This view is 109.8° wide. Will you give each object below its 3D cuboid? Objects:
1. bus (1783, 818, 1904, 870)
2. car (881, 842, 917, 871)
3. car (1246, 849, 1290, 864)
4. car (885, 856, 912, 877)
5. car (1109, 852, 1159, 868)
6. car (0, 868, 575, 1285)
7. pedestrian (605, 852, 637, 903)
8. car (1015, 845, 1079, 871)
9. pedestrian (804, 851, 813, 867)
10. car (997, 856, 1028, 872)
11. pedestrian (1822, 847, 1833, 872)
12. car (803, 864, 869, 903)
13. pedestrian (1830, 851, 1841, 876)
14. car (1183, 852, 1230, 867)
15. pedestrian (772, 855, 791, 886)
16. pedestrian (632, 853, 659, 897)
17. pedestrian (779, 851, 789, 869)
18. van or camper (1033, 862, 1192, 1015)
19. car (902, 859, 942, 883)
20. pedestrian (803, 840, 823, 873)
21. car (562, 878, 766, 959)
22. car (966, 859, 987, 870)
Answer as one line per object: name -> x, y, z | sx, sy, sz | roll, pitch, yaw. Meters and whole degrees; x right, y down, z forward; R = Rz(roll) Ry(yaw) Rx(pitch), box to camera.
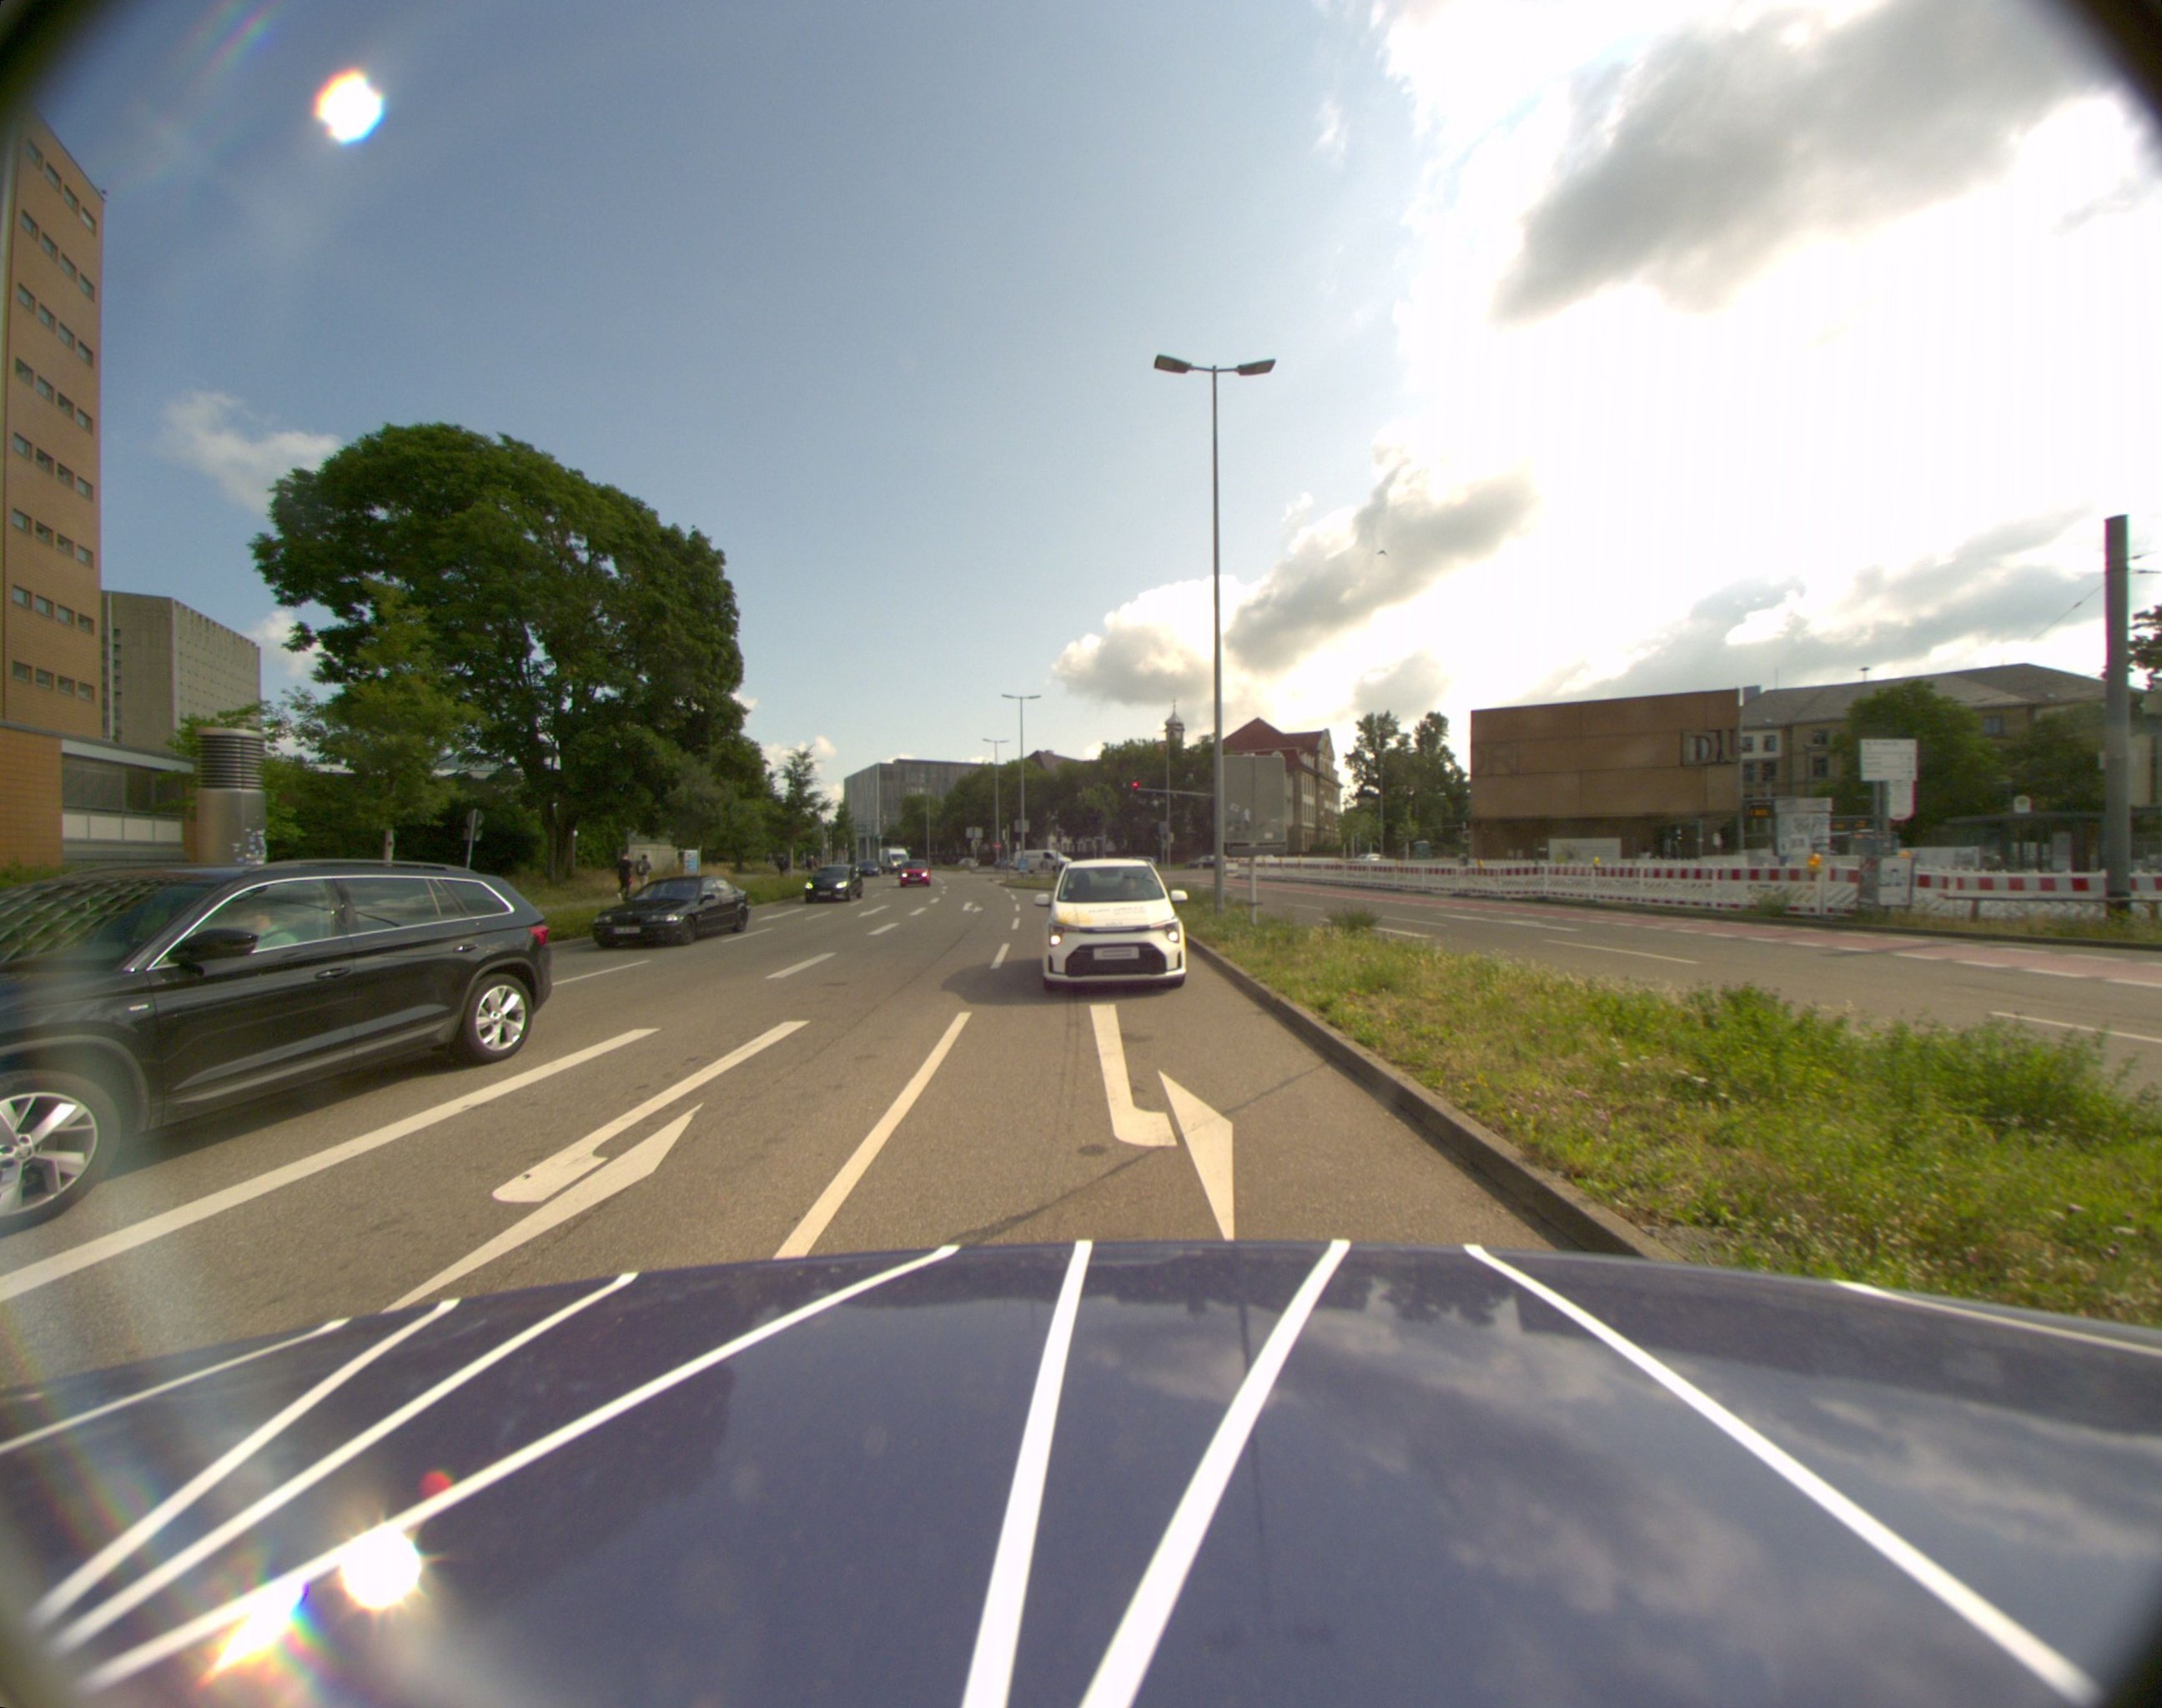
bus -> 57.630, -0.707, 57.894 | 2.957, 3.487, 12.276 | 0, 0, 28
car -> -19.171, 0.246, 79.961 | 2.489, 2.862, 6.136 | -1, 0, -25
car -> 18.461, 0.215, 75.052 | 4.136, 1.382, 1.756 | -1, 0, -29
car -> -15.074, 0.980, 62.520 | 1.892, 1.608, 3.994 | -3, 1, -16
car -> 5.429, 0.634, 77.709 | 4.782, 1.559, 1.998 | -1, 0, -8
car -> -5.609, 1.002, 4.536 | 1.999, 1.659, 4.683 | -1, 1, 0
pedestrian -> -17.009, 0.852, 28.117 | 0.760, 1.860, 0.645 | 2, 1, 0
car -> -2.927, 0.372, 65.282 | 5.062, 2.002, 2.003 | -2, 1, 25
pedestrian -> -35.276, 0.653, 98.275 | 0.988, 2.002, 1.128 | -1, 1, -17
car -> -7.693, 1.113, 85.489 | 2.002, 1.674, 4.334 | -3, 1, -26
pedestrian -> 48.049, 0.328, 48.905 | 0.357, 1.593, 0.365 | 0, 1, 21
car -> -9.999, 1.155, 31.330 | 1.714, 1.445, 3.998 | -1, 0, -5
pedestrian -> 48.362, 0.616, 48.686 | 0.357, 1.593, 0.365 | -1, 1, 21
car -> 11.820, 0.516, 71.420 | 4.136, 1.382, 1.756 | -1, 0, -29
pedestrian -> -20.174, 1.085, 51.237 | 0.988, 2.002, 1.128 | -3, 1, -16
pedestrian -> -17.725, 0.861, 30.945 | 0.671, 1.736, 0.645 | 2, 1, 0
pedestrian -> -34.613, 0.691, 88.467 | 0.988, 2.002, 1.128 | -1, 1, -16
van or camper -> 0.398, 0.893, 9.819 | 1.627, 1.467, 4.000 | 0, 1, 2
car -> -9.317, 0.963, 44.659 | 1.608, 1.207, 3.009 | -2, 2, 1
pedestrian -> -16.733, 0.143, 47.468 | 0.988, 2.002, 1.128 | -3, 1, -16
car -> -8.768, 1.271, 16.514 | 1.999, 1.390, 4.508 | -1, -1, -1
car -> -14.071, 1.379, 102.503 | 1.961, 1.479, 5.092 | -1, 0, -18
